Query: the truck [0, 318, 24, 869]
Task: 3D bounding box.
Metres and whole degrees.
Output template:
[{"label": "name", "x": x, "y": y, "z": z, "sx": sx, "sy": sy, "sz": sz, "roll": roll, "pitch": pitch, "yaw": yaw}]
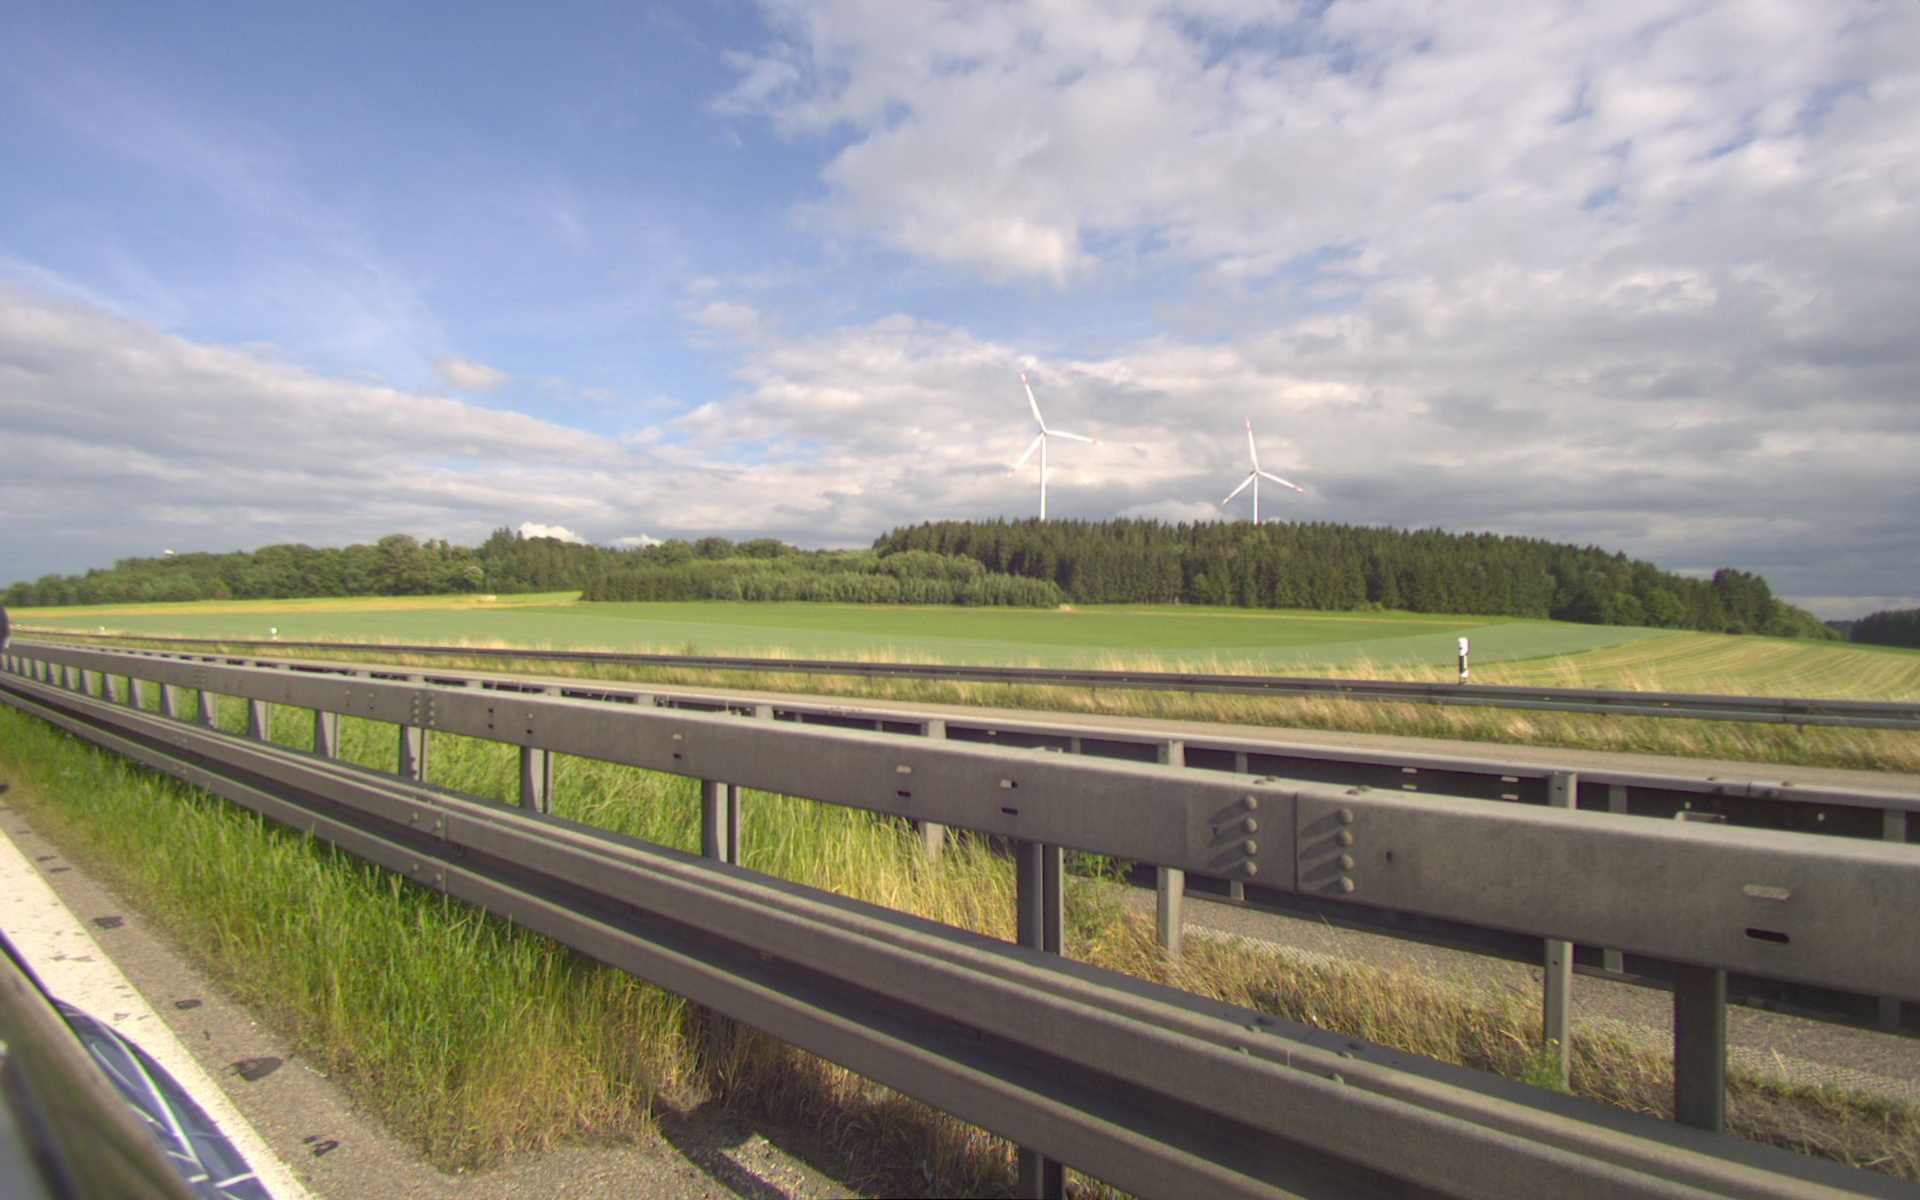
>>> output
[{"label": "truck", "x": -10.519, "y": 0.076, "z": 8.591, "sx": 11.155, "sy": 3.183, "sz": 2.470, "roll": -2, "pitch": -2, "yaw": 40}]
